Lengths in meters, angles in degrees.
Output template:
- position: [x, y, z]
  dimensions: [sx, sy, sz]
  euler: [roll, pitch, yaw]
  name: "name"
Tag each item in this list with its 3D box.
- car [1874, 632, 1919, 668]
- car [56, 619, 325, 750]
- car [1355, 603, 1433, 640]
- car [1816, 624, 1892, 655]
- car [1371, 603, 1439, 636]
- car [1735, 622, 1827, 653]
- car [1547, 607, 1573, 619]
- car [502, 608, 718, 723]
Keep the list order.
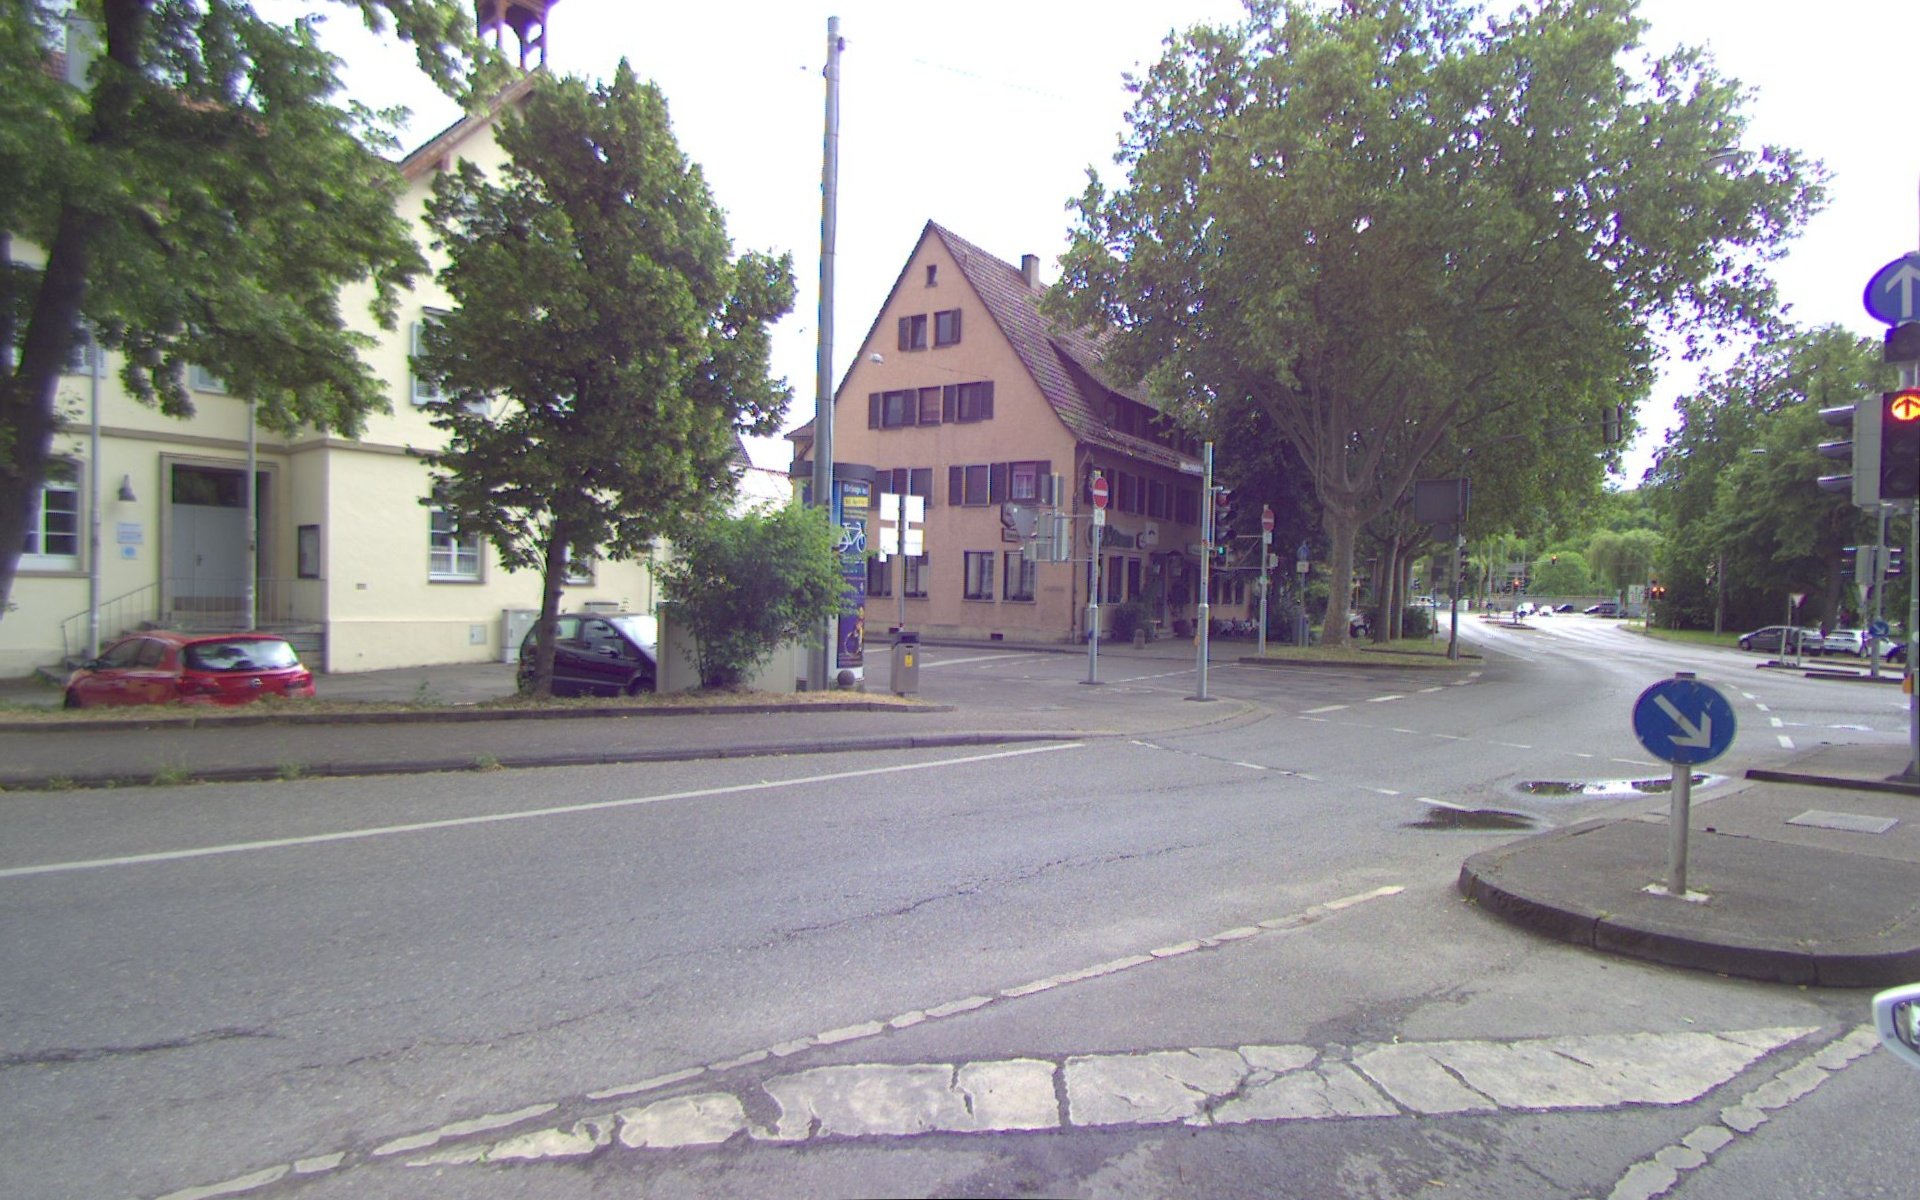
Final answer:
- position: [39.569, 2.078, 40.946]
  dimensions: [1.442, 1.412, 3.596]
  euler: [2, 0, 3]
  name: "car"
- position: [-10.175, 1.015, 13.248]
  dimensions: [3.492, 1.397, 1.605]
  euler: [2, 0, 30]
  name: "car"
- position: [21.408, 1.049, 49.585]
  dimensions: [3.387, 1.663, 1.570]
  euler: [2, 0, 28]
  name: "car"
- position: [47.302, 2.082, 53.163]
  dimensions: [3.342, 1.484, 1.543]
  euler: [2, 0, -19]
  name: "car"
- position: [25.469, 1.087, 57.469]
  dimensions: [3.387, 1.765, 1.570]
  euler: [2, 0, 28]
  name: "car"
- position: [43.863, 1.969, 53.762]
  dimensions: [1.559, 1.484, 3.543]
  euler: [2, 0, -17]
  name: "car"
- position: [108.229, 2.317, 181.092]
  dimensions: [3.928, 2.040, 1.996]
  euler: [2, 0, 30]
  name: "car"
- position: [-5.764, 1.008, 16.596]
  dimensions: [3.035, 1.654, 1.607]
  euler: [2, 0, 22]
  name: "car"
